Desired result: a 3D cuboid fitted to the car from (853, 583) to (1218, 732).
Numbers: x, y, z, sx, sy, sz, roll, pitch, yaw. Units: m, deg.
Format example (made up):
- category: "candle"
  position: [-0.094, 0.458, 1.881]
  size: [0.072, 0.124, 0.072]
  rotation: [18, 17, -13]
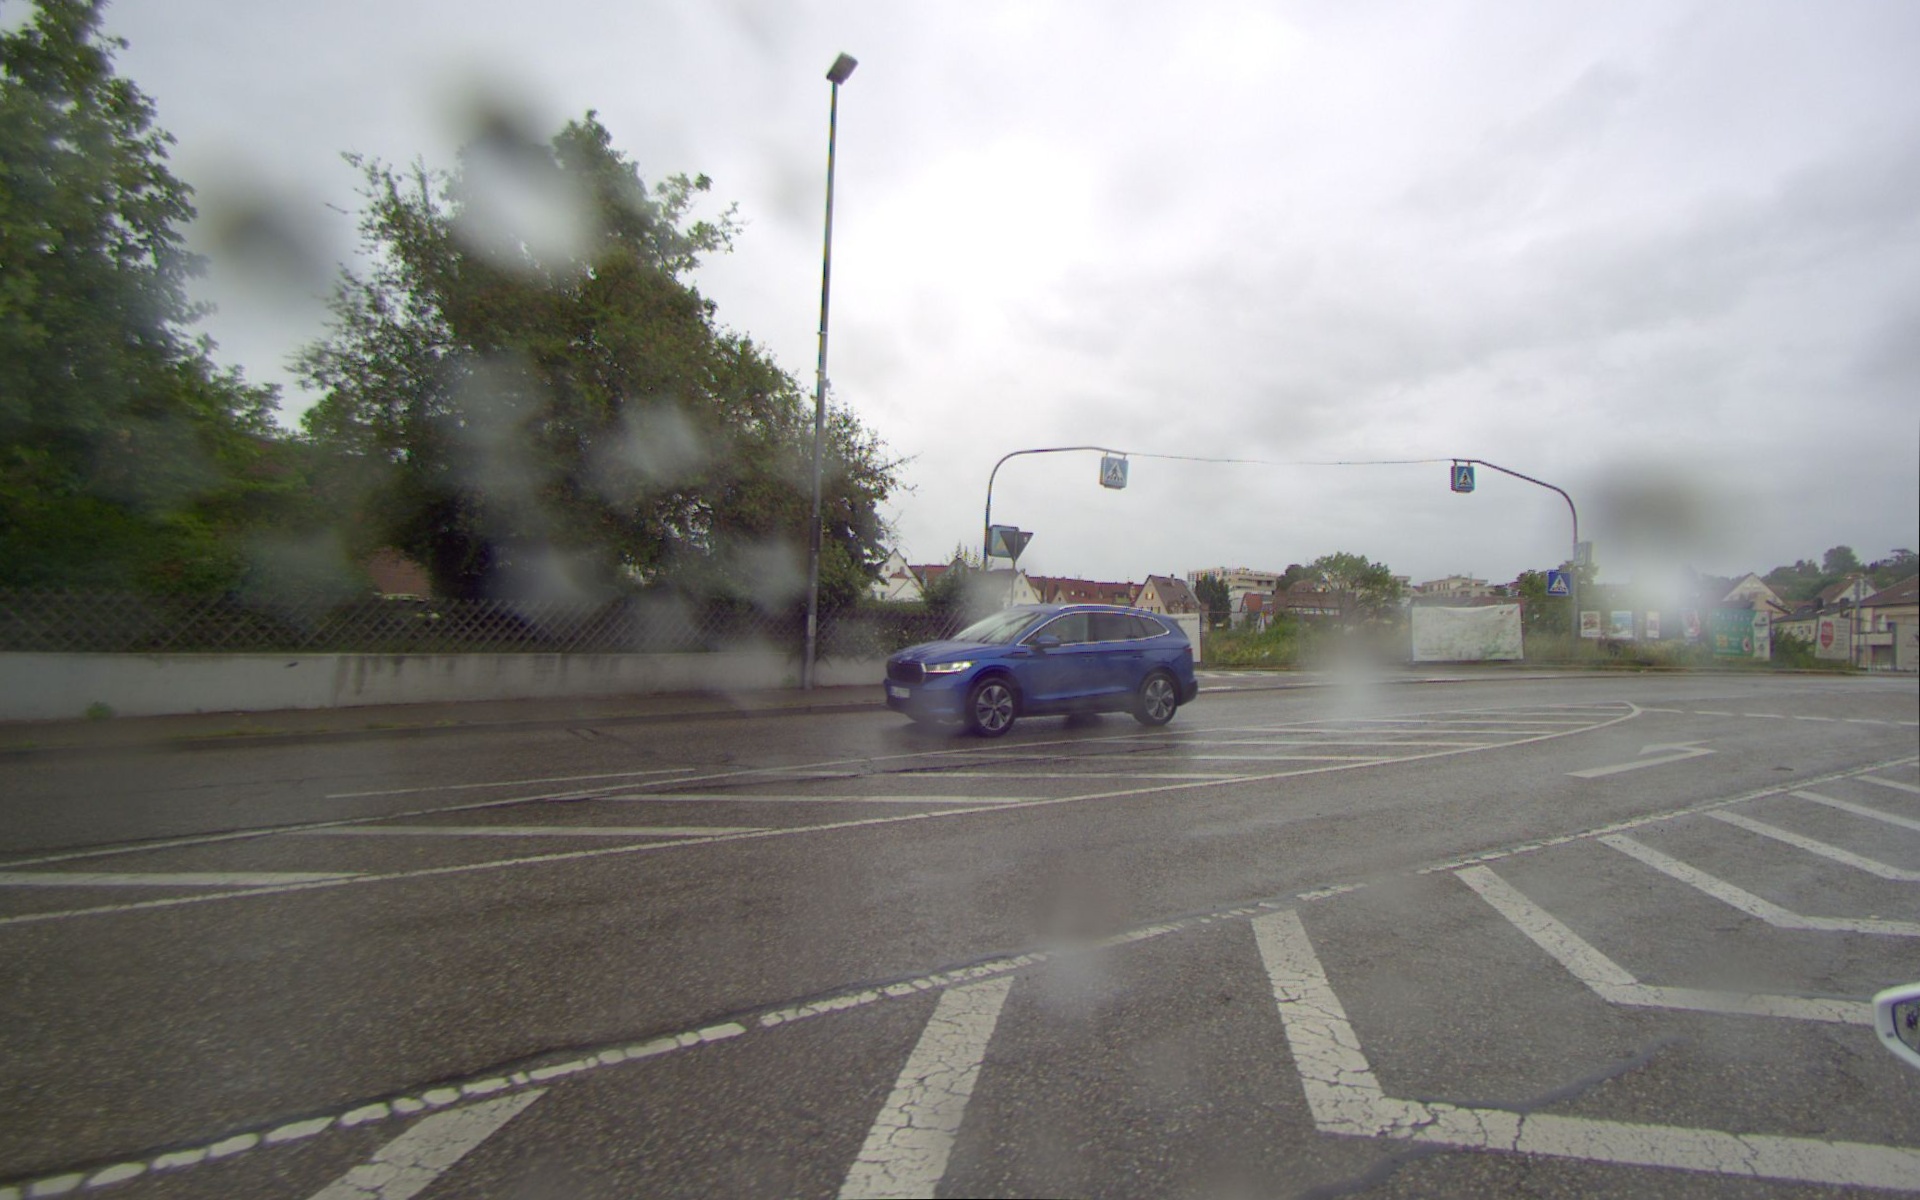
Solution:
- category: "car"
  position: [1.098, 0.752, 13.617]
  size: [4.655, 1.715, 1.982]
  rotation: [3, -1, -33]
